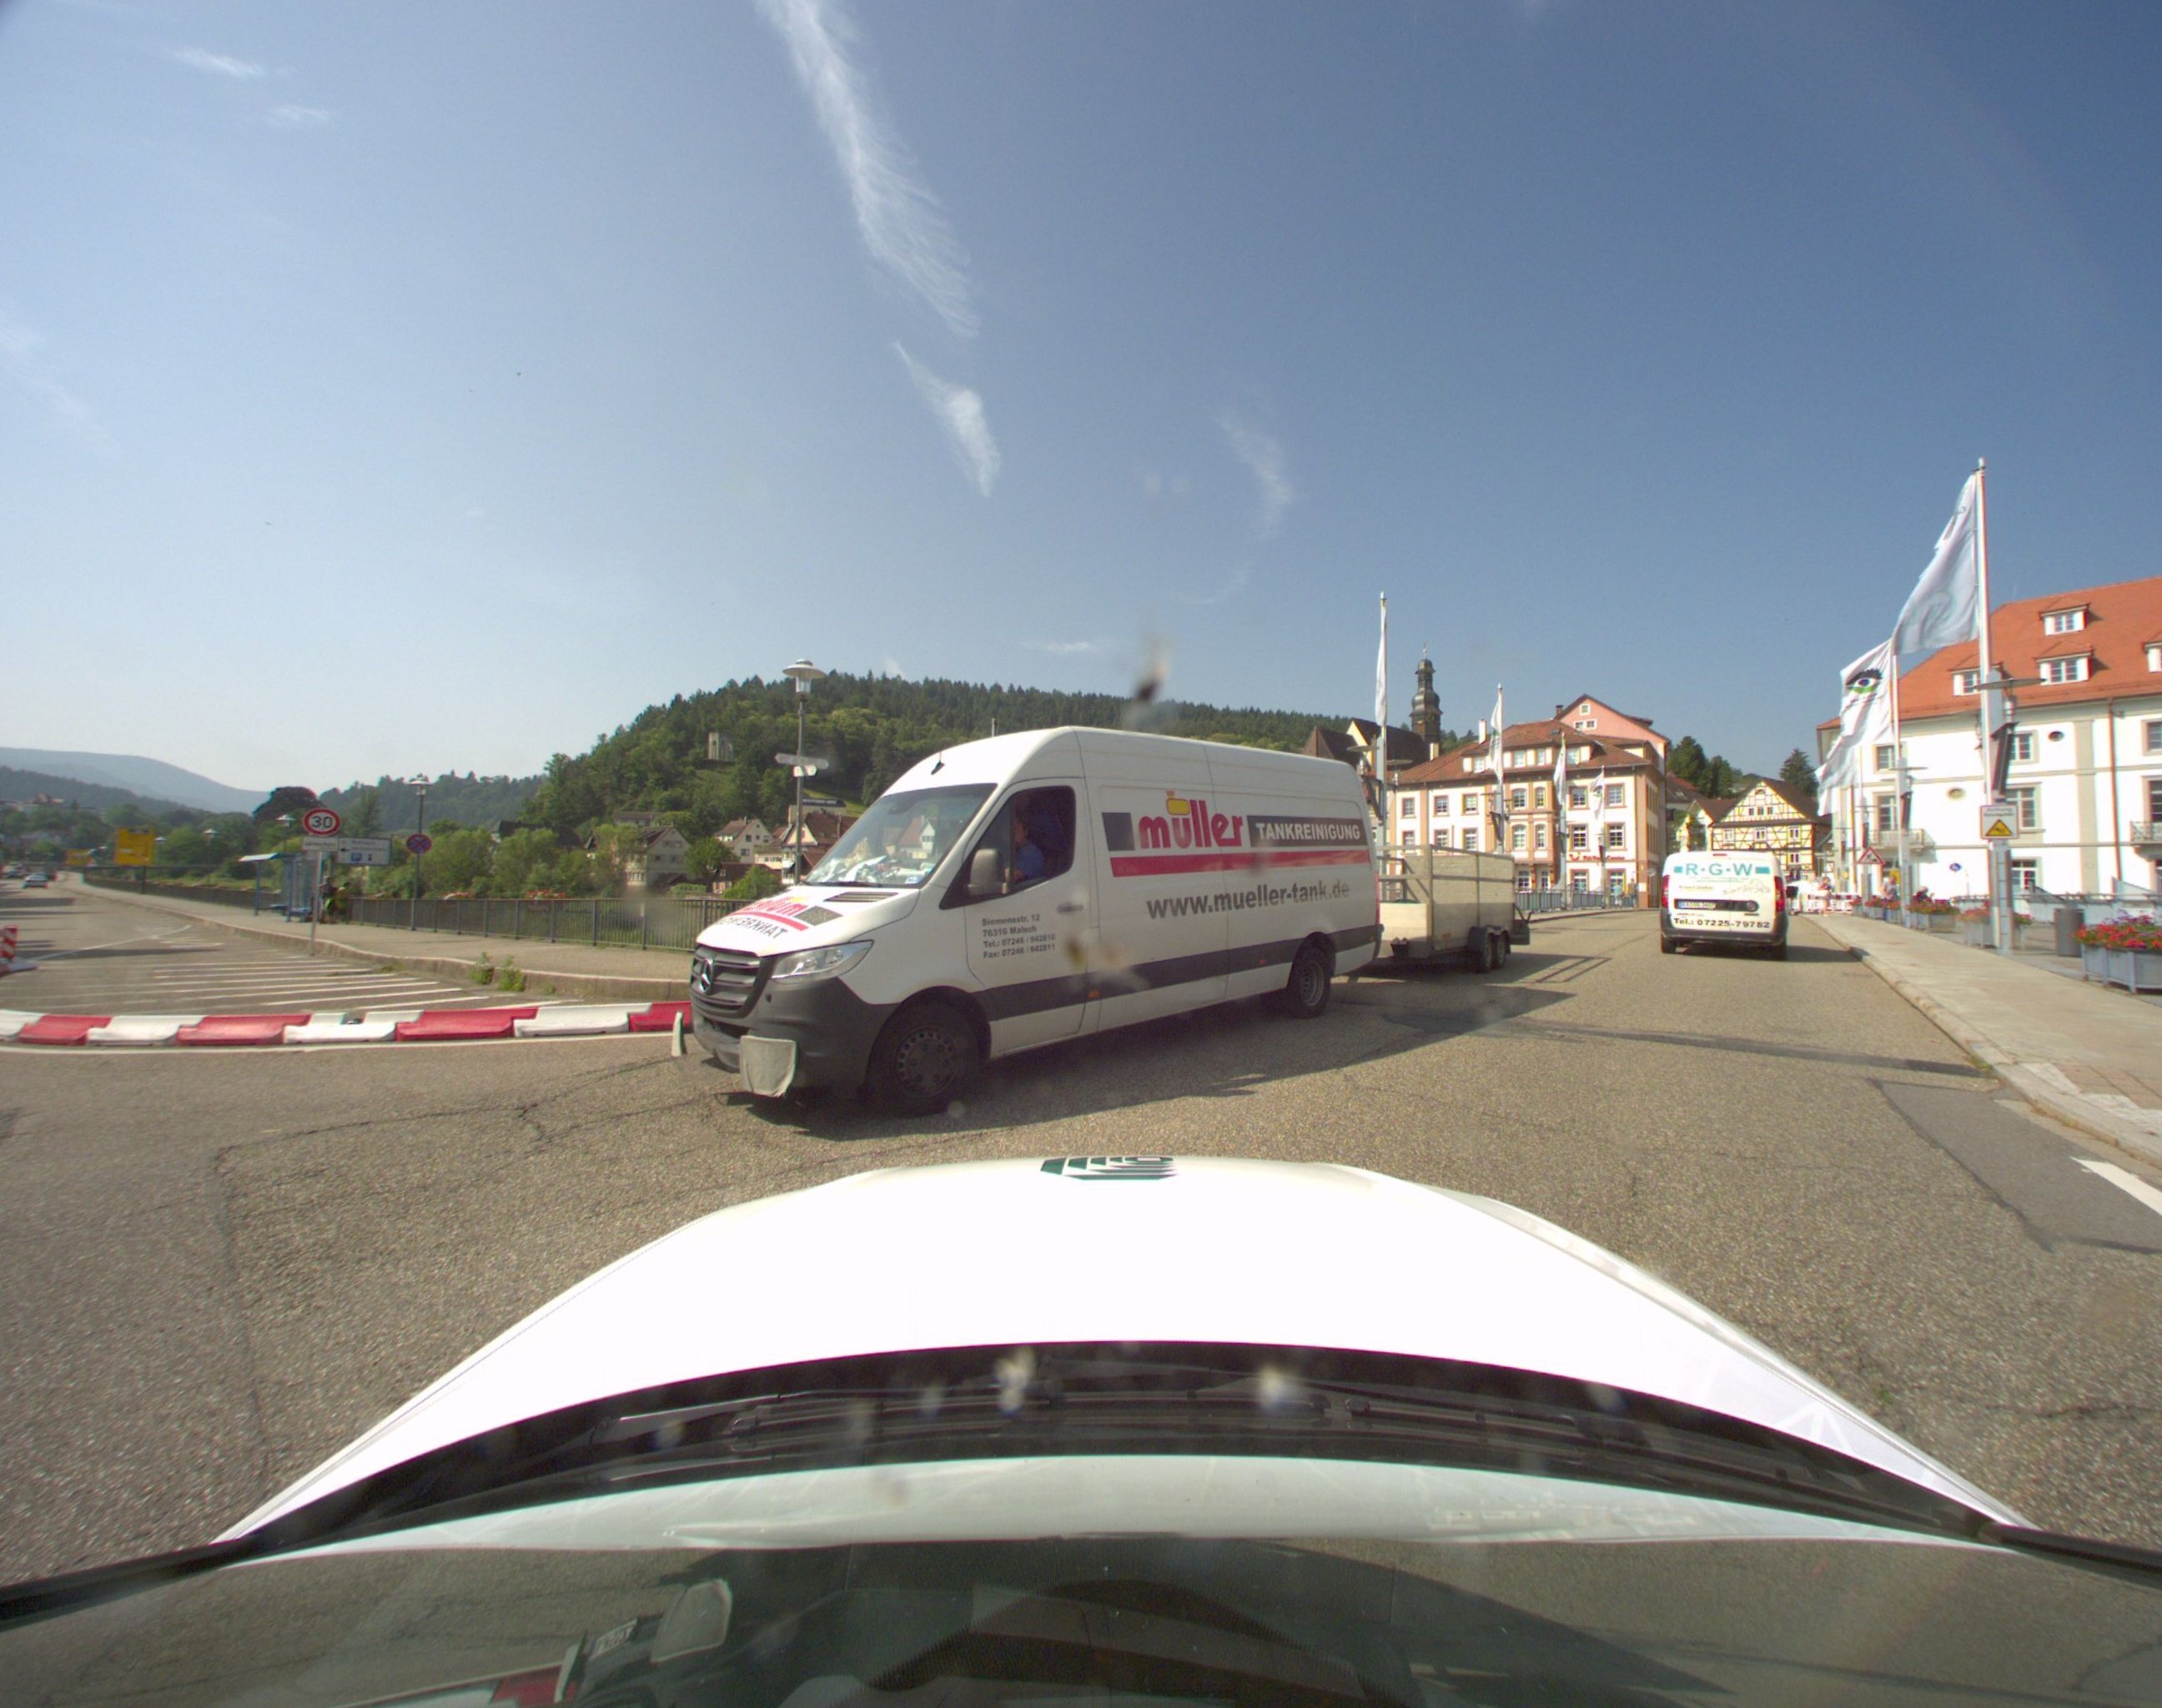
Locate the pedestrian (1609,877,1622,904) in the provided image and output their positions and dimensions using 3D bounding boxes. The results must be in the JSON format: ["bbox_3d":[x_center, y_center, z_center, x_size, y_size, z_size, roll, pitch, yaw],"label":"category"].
[{"bbox_3d":[31.995,2.169,48.752,0.578,1.610,0.540,0,-2,40],"label":"pedestrian"}]

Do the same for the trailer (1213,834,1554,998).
[{"bbox_3d":[4.704,0.757,12.053,2.586,1.828,5.670,-2,-2,45],"label":"trailer"}]

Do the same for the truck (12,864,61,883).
[{"bbox_3d":[-181.208,3.443,141.394,3.095,3.264,9.100,1,-2,-38],"label":"truck"}]

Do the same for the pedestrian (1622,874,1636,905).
[{"bbox_3d":[32.473,2.089,48.223,0.609,1.763,0.869,0,-2,40],"label":"pedestrian"}]

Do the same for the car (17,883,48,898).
[{"bbox_3d":[-116.211,4.046,90.304,3.948,1.662,2.012,-1,-3,39],"label":"car"}]

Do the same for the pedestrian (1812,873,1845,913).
[{"bbox_3d":[32.095,1.669,34.985,0.741,1.723,0.729,0,-2,6],"label":"pedestrian"}]

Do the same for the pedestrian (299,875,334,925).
[{"bbox_3d":[-26.647,1.608,28.396,0.485,1.706,0.796,-2,-3,40],"label":"pedestrian"}]

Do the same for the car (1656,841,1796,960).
[{"bbox_3d":[12.164,0.825,15.249,1.827,1.906,4.340,-1,-3,41],"label":"car"}]

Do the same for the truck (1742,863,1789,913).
[{"bbox_3d":[37.352,1.852,44.477,1.843,2.586,4.286,-1,-3,40],"label":"truck"}]

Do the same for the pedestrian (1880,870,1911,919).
[{"bbox_3d":[27.521,1.353,27.534,0.659,1.618,0.567,-1,-2,39],"label":"pedestrian"}]

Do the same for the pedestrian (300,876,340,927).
[{"bbox_3d":[-26.156,1.610,27.993,0.767,1.706,0.875,-2,-3,40],"label":"pedestrian"}]

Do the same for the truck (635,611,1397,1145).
[{"bbox_3d":[0.229,0.188,7.375,7.173,2.699,2.086,1,-2,-44],"label":"truck"}]

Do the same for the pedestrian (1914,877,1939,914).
[{"bbox_3d":[28.468,1.392,27.429,0.447,1.244,0.630,-2,-4,35],"label":"pedestrian"}]
